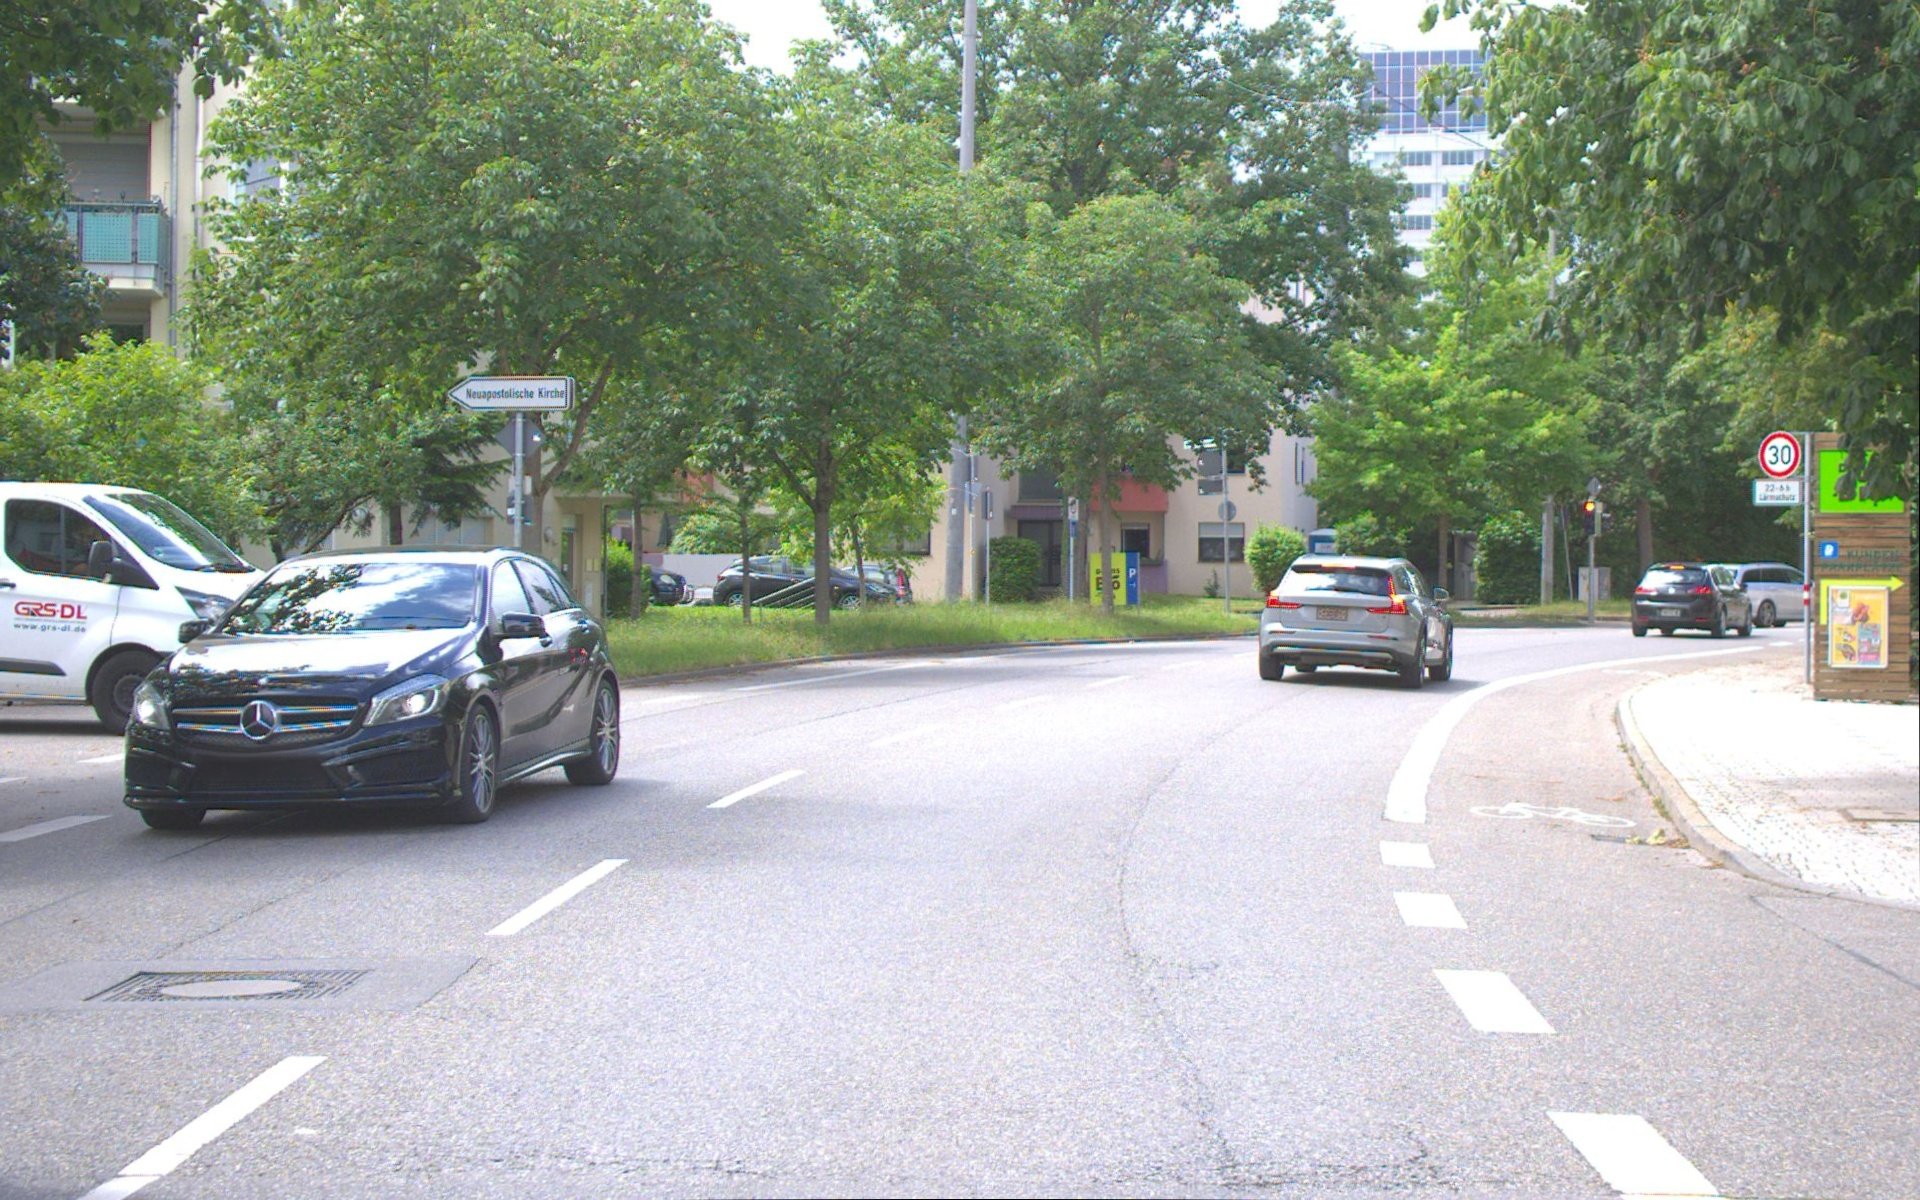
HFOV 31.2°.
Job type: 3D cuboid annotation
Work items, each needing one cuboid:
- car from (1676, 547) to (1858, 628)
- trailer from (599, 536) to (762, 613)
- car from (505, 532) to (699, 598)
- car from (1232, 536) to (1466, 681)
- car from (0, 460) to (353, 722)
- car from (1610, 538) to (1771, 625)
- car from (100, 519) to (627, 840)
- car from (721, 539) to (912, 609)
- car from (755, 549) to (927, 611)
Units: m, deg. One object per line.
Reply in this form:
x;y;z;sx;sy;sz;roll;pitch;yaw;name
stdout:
18.898;-0.280;80.435;4.316;1.611;1.810;3;1;-40;car
-7.266;-0.668;89.500;3.908;1.793;1.630;2;-3;9;trailer
-8.404;-0.821;80.846;4.177;1.518;1.900;0;0;11;car
4.656;0.049;40.602;1.957;1.518;4.326;3;2;16;car
-7.809;-0.057;27.946;5.215;1.987;2.107;-1;1;13;car
14.192;-0.359;66.608;1.807;1.518;4.322;4;2;28;car
-3.075;0.362;18.606;1.687;1.477;4.226;-2;0;6;car
-3.305;-0.598;79.649;4.079;1.395;1.793;2;-3;11;car
-3.049;-0.513;88.658;4.079;1.395;1.793;2;-3;11;car
